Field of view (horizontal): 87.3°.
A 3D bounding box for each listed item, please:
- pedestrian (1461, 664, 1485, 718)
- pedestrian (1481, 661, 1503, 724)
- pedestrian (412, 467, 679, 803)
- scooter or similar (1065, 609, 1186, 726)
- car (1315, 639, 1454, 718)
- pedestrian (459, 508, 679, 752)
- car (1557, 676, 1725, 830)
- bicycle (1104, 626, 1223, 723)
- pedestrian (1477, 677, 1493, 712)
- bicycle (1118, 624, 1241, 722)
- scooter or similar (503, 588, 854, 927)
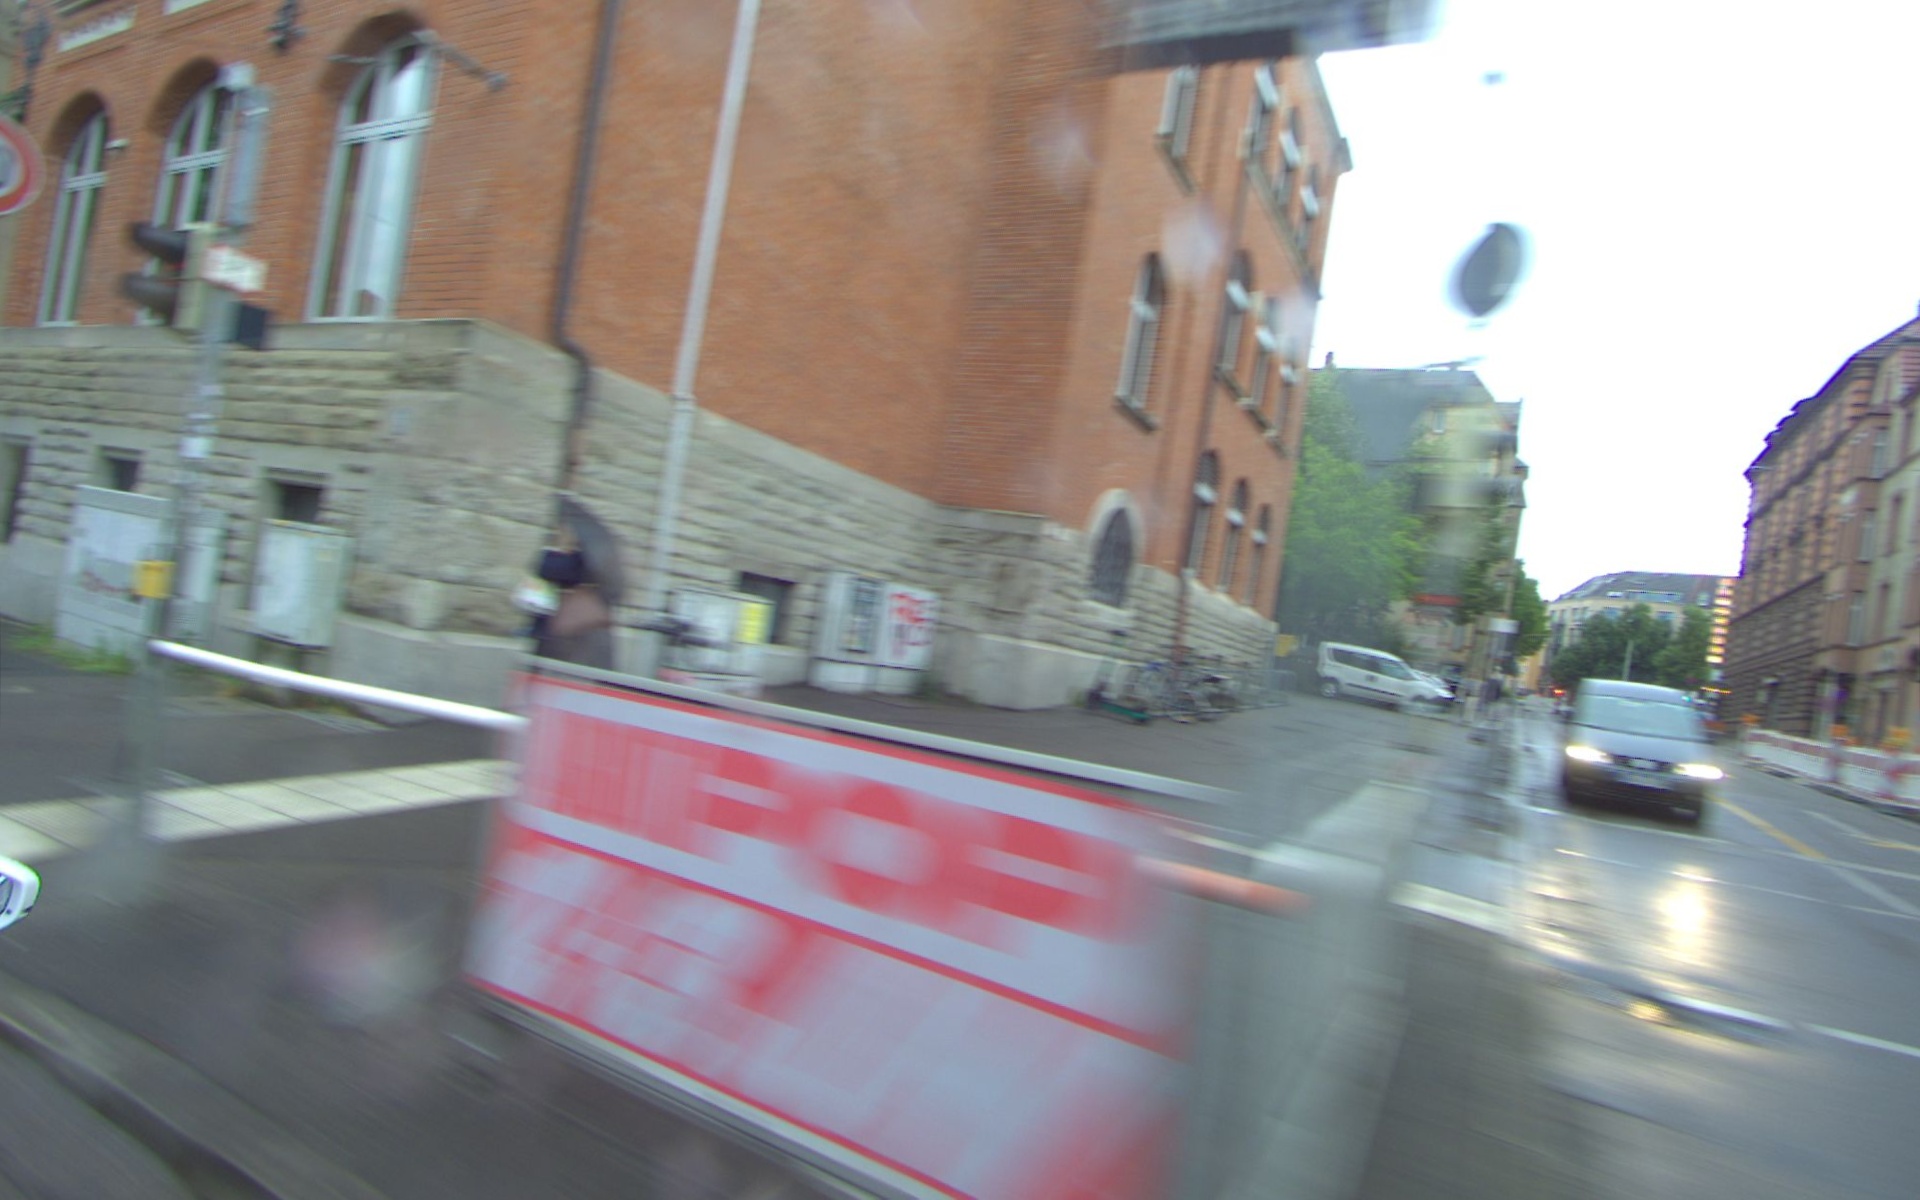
[{"bbox_3d":[16.222,2.890,31.809,0.483,1.638,0.525,6,-1,29],"label":"pedestrian"},{"bbox_3d":[16.692,2.910,31.579,0.427,1.920,0.537,6,-1,29],"label":"pedestrian"},{"bbox_3d":[-2.637,0.202,6.451,1.055,1.911,0.959,6,0,29],"label":"pedestrian"},{"bbox_3d":[2.412,0.975,14.751,1.492,1.436,0.409,10,1,30],"label":"scooter or similar"},{"bbox_3d":[14.078,2.572,33.380,3.945,2.037,1.999,6,-1,27],"label":"car"},{"bbox_3d":[-2.951,0.215,7.628,1.055,1.645,0.960,6,0,29],"label":"pedestrian"},{"bbox_3d":[10.144,2.142,15.148,1.706,1.719,3.988,6,1,33],"label":"car"},{"bbox_3d":[3.244,1.168,16.086,1.638,1.218,0.413,11,4,28],"label":"bicycle"},{"bbox_3d":[26.054,4.675,49.930,0.521,1.690,0.547,6,0,26],"label":"pedestrian"},{"bbox_3d":[3.691,1.211,16.989,1.808,1.261,0.344,13,5,28],"label":"bicycle"},{"bbox_3d":[-1.218,0.658,4.452,1.241,1.265,0.631,7,-1,-40],"label":"scooter or similar"}]
